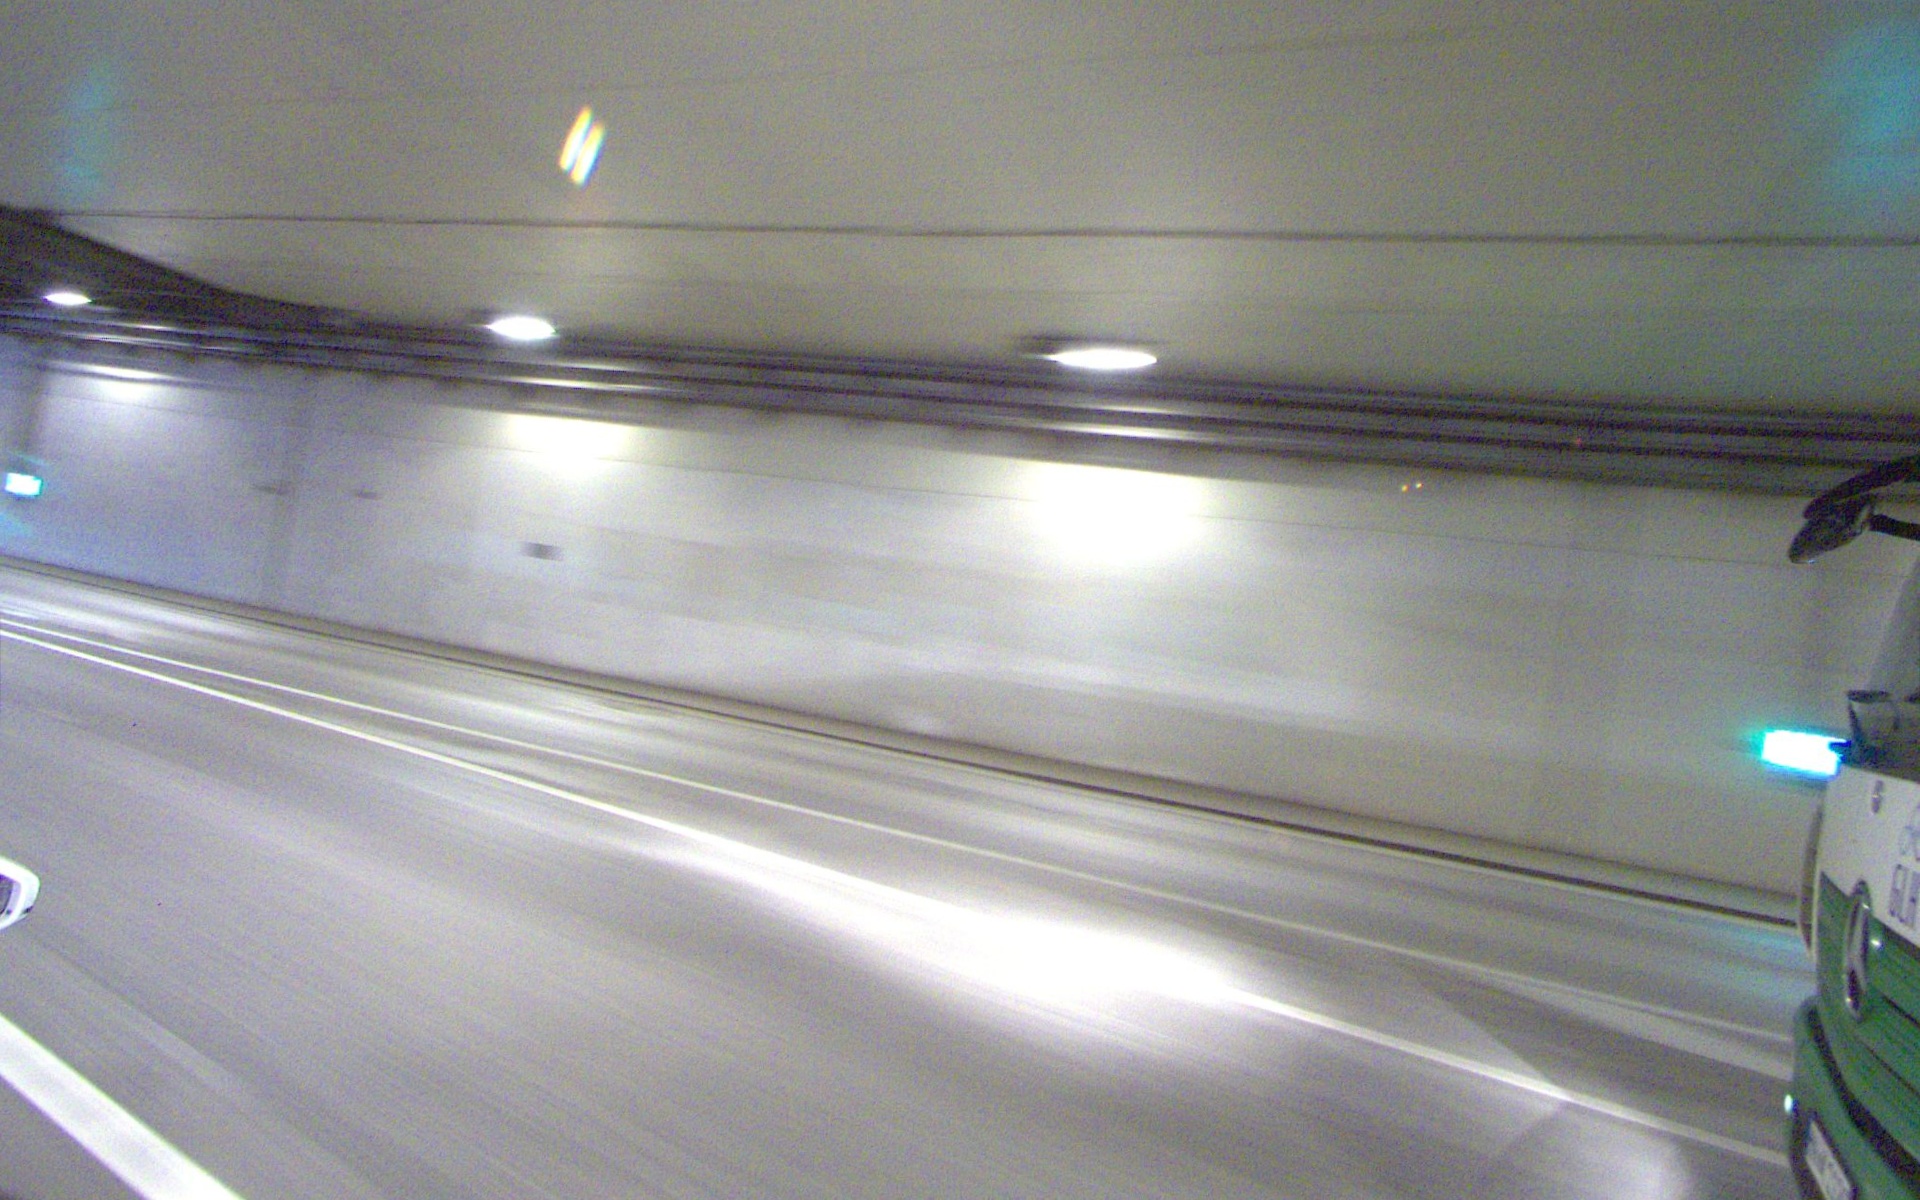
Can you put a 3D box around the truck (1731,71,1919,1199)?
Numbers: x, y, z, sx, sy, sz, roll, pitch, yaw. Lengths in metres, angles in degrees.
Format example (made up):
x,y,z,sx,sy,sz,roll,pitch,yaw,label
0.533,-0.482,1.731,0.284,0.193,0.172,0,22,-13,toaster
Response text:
x,y,z,sx,sy,sz,roll,pitch,yaw,label
5.063,0.543,0.355,7.128,3.218,2.557,6,-1,33,truck
